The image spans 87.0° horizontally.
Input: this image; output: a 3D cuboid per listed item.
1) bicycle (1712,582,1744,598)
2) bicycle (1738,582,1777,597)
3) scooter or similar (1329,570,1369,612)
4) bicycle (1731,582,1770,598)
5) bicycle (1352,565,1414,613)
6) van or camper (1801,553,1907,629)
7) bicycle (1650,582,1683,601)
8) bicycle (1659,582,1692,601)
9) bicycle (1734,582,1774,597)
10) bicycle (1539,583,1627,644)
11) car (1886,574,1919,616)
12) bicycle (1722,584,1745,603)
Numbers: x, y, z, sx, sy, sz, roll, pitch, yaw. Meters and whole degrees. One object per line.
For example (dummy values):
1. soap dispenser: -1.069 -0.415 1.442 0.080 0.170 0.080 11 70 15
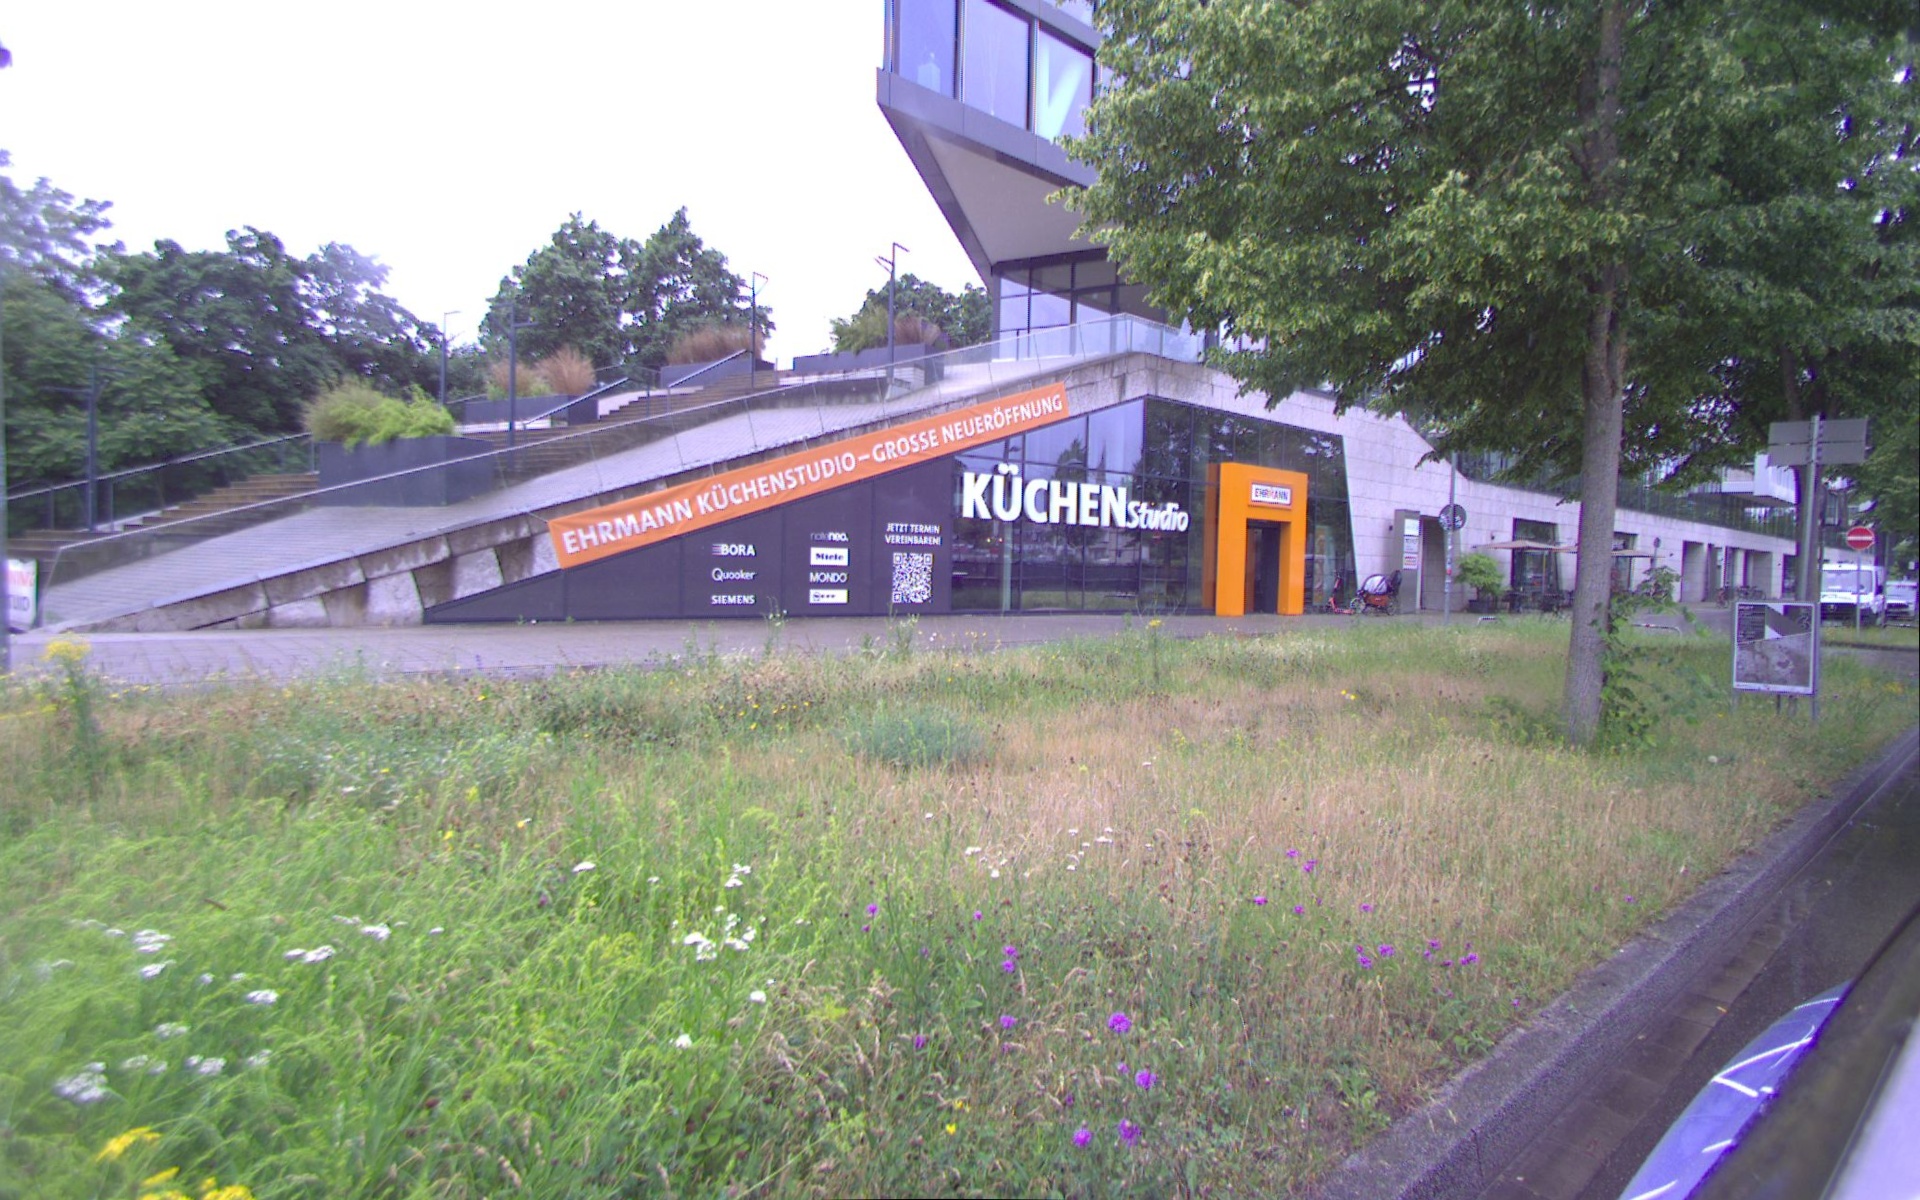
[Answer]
1. bicycle: 49.471 -0.647 65.197 0.339 0.957 1.665 0 3 -22
2. bicycle: 54.787 -0.724 69.548 0.389 0.957 2.025 -1 4 -45
3. scooter or similar: 11.775 -0.279 30.653 1.214 1.243 0.343 -1 0 -22
4. bicycle: 52.614 -0.676 67.374 0.389 0.957 2.025 -1 4 -45
5. bicycle: 13.254 -0.350 31.684 2.382 1.419 0.734 0 3 -41
6. van or camper: 29.658 -0.347 33.516 5.367 2.320 2.028 -1 2 -42
7. bicycle: 36.614 -0.430 52.474 0.388 0.958 2.028 -1 1 4
8. bicycle: 37.229 -0.440 52.692 0.388 0.958 2.028 -1 1 4
9. bicycle: 53.892 -0.715 68.705 0.389 0.957 2.025 -1 4 -45
10. bicycle: 14.584 0.288 23.742 0.521 1.363 1.852 2 1 -16
11. car: 43.443 -0.258 45.859 4.766 1.781 1.744 -1 2 -42
12. bicycle: 40.528 -0.343 53.015 1.823 0.957 0.403 -1 2 -34
